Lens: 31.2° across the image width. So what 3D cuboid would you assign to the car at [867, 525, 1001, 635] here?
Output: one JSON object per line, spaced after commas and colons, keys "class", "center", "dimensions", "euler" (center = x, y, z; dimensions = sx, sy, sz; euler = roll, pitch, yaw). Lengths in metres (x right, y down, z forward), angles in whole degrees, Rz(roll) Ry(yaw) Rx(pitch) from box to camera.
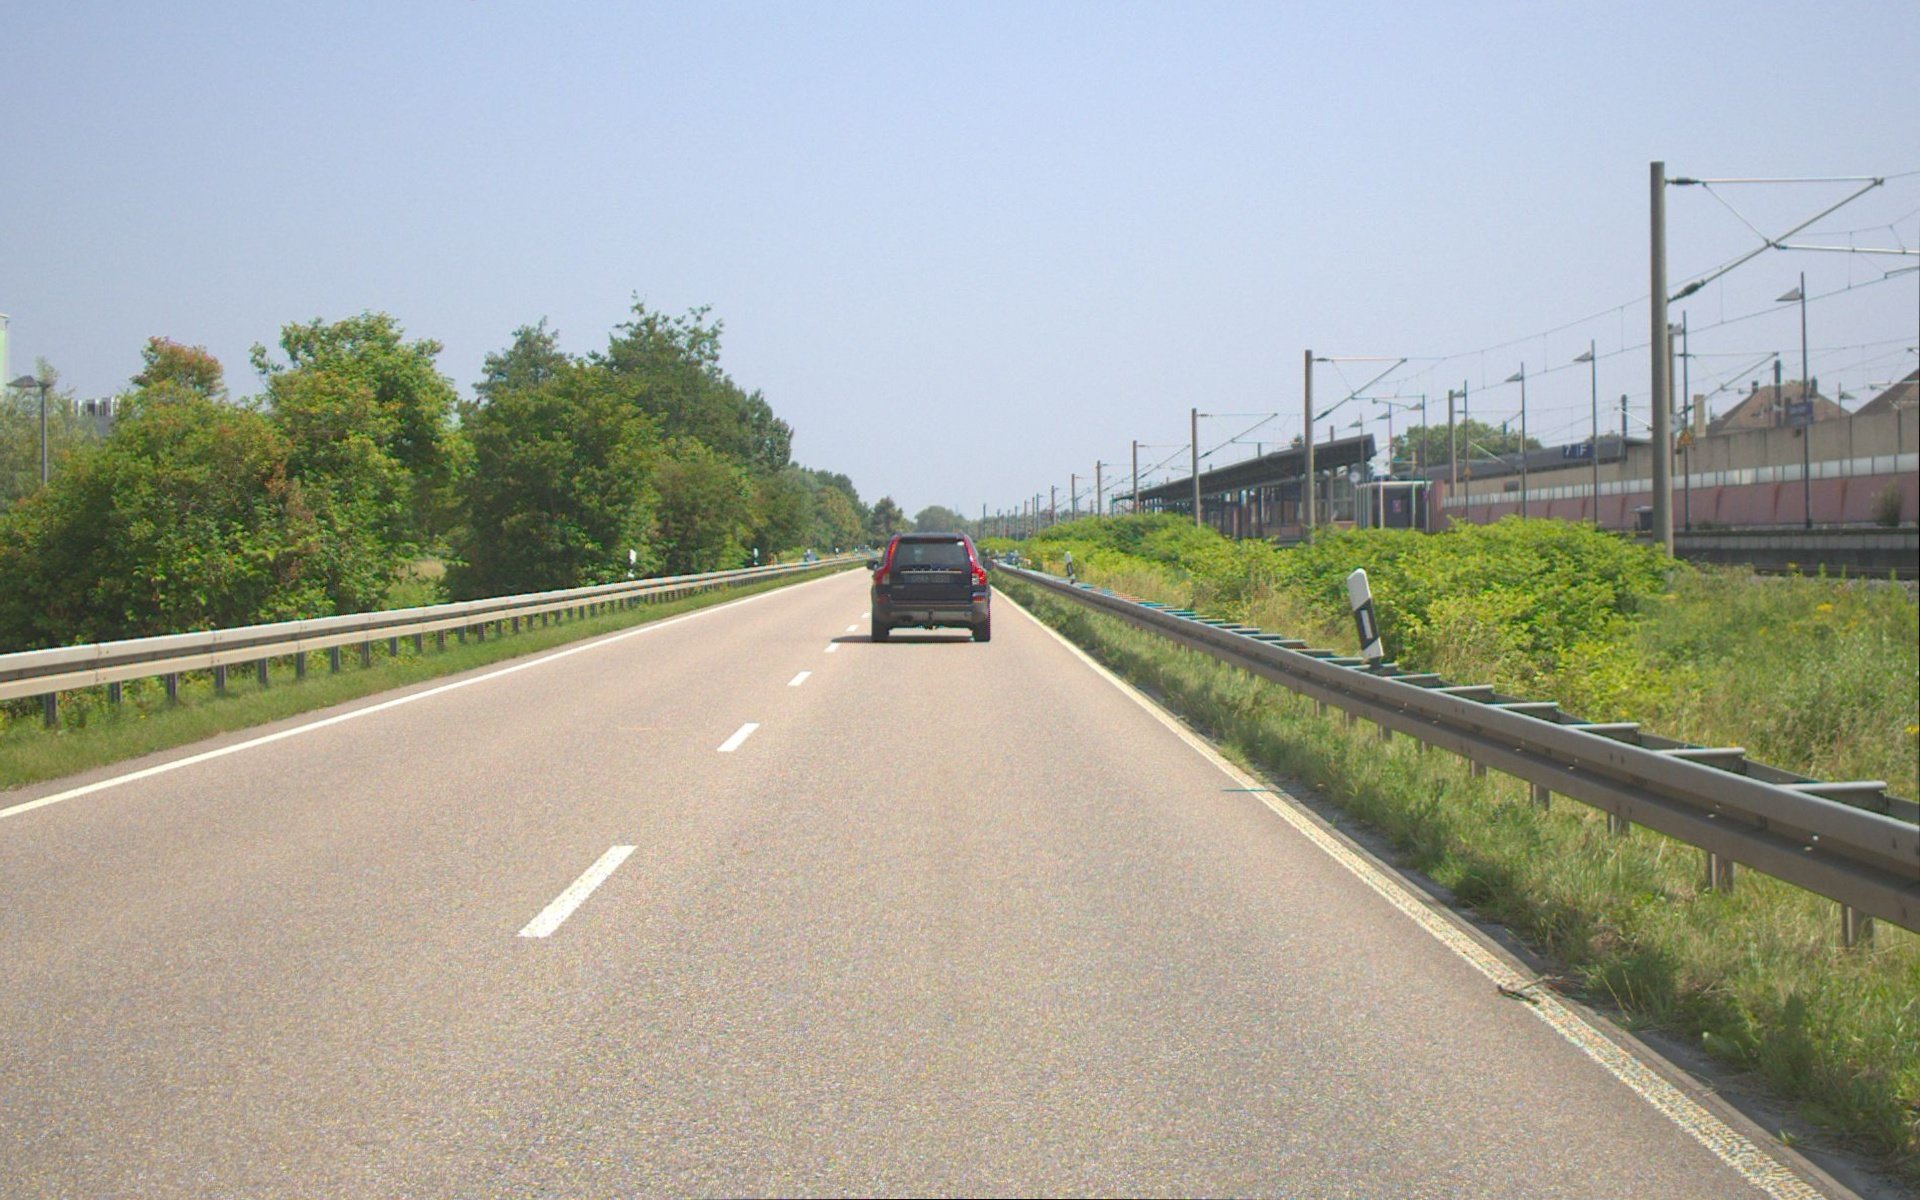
{"class": "car", "center": [-0.452, -0.336, 55.003], "dimensions": [1.993, 1.694, 4.001], "euler": [0, 1, -3]}
